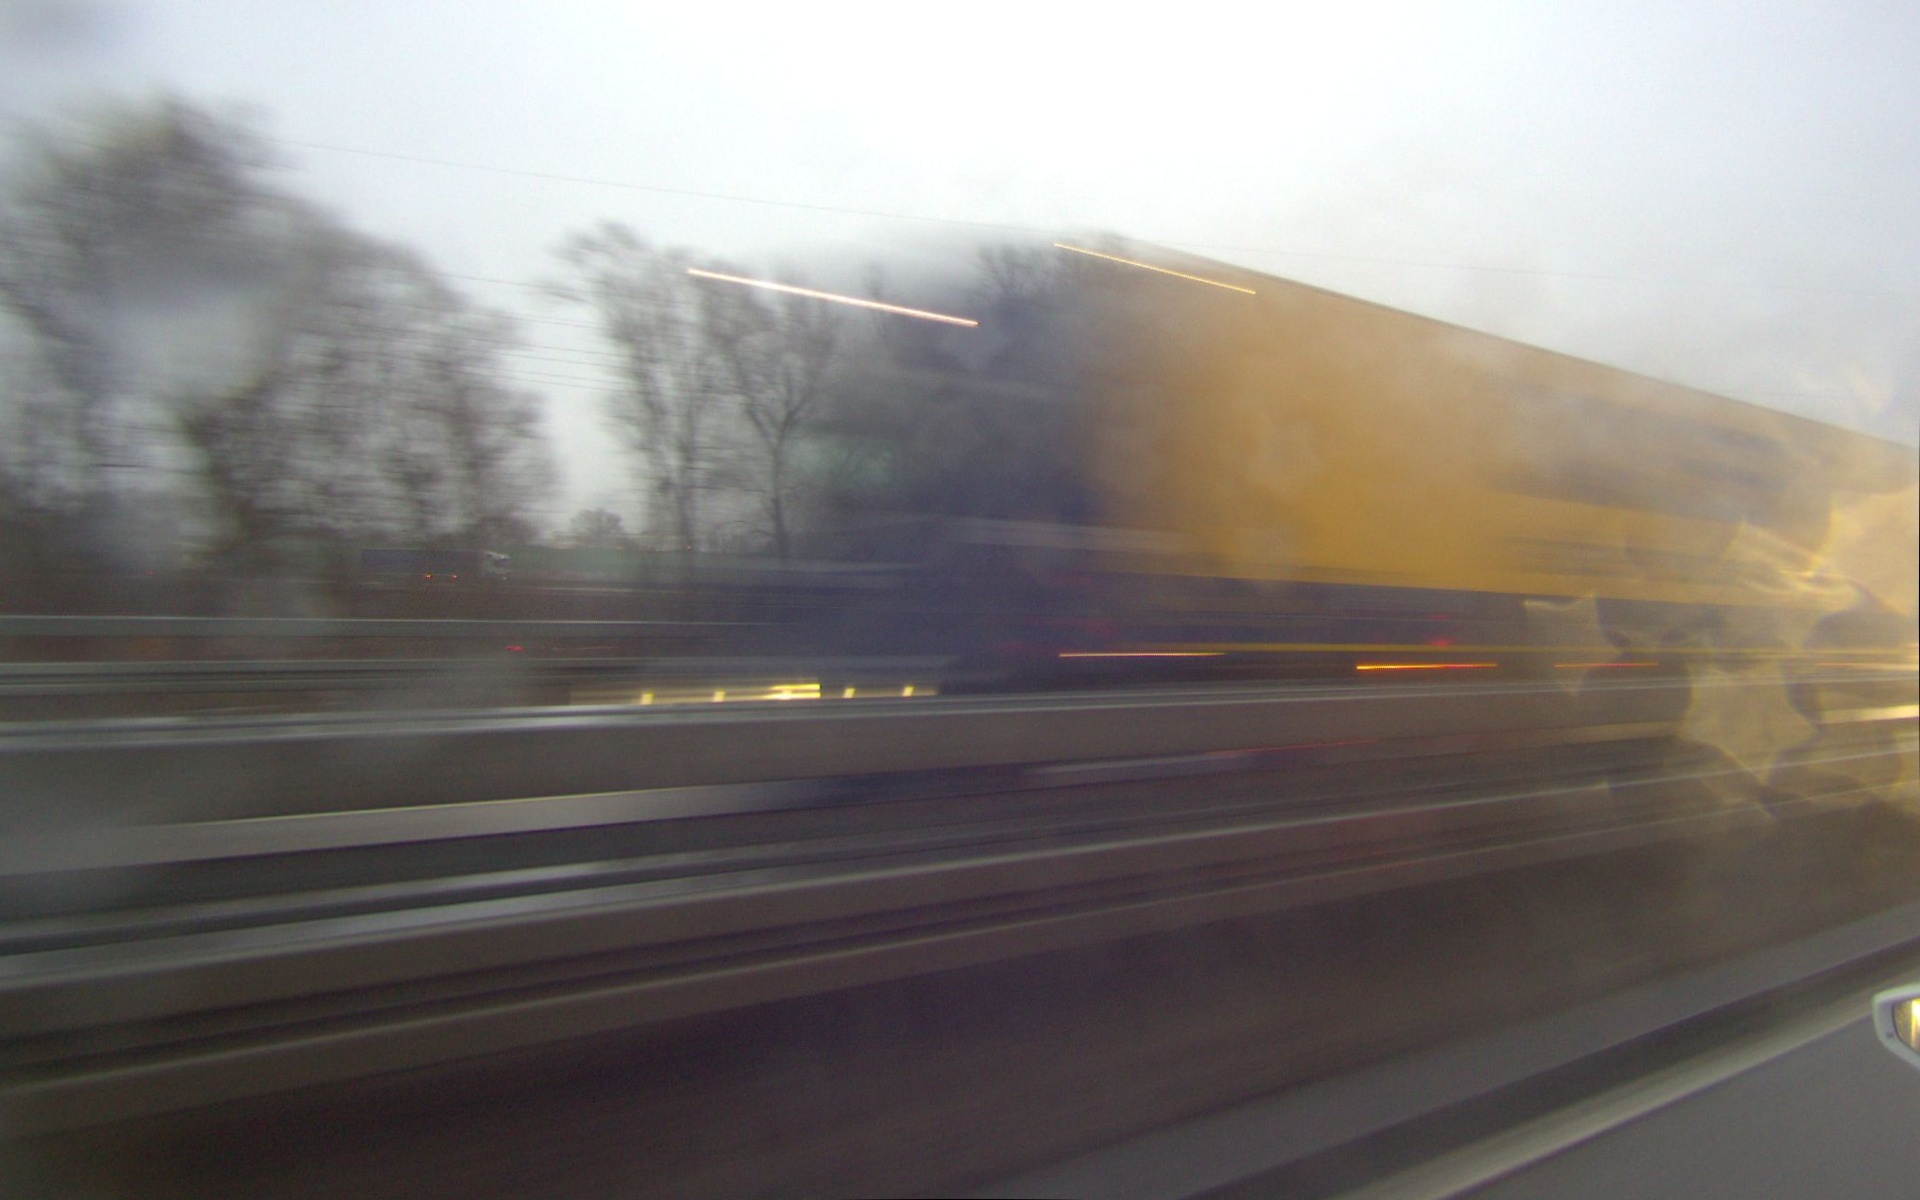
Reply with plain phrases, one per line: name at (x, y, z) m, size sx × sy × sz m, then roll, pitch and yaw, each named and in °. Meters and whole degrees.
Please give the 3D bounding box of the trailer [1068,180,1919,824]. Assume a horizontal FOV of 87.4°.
trailer at (7.394, -0.519, 11.681) m, size 13.167 × 4.645 × 2.616 m, roll 2°, pitch -1°, yaw -30°

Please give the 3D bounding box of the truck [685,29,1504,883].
truck at (1.285, -0.697, 8.164) m, size 6.283 × 4.640 × 2.583 m, roll 2°, pitch -1°, yaw -30°
